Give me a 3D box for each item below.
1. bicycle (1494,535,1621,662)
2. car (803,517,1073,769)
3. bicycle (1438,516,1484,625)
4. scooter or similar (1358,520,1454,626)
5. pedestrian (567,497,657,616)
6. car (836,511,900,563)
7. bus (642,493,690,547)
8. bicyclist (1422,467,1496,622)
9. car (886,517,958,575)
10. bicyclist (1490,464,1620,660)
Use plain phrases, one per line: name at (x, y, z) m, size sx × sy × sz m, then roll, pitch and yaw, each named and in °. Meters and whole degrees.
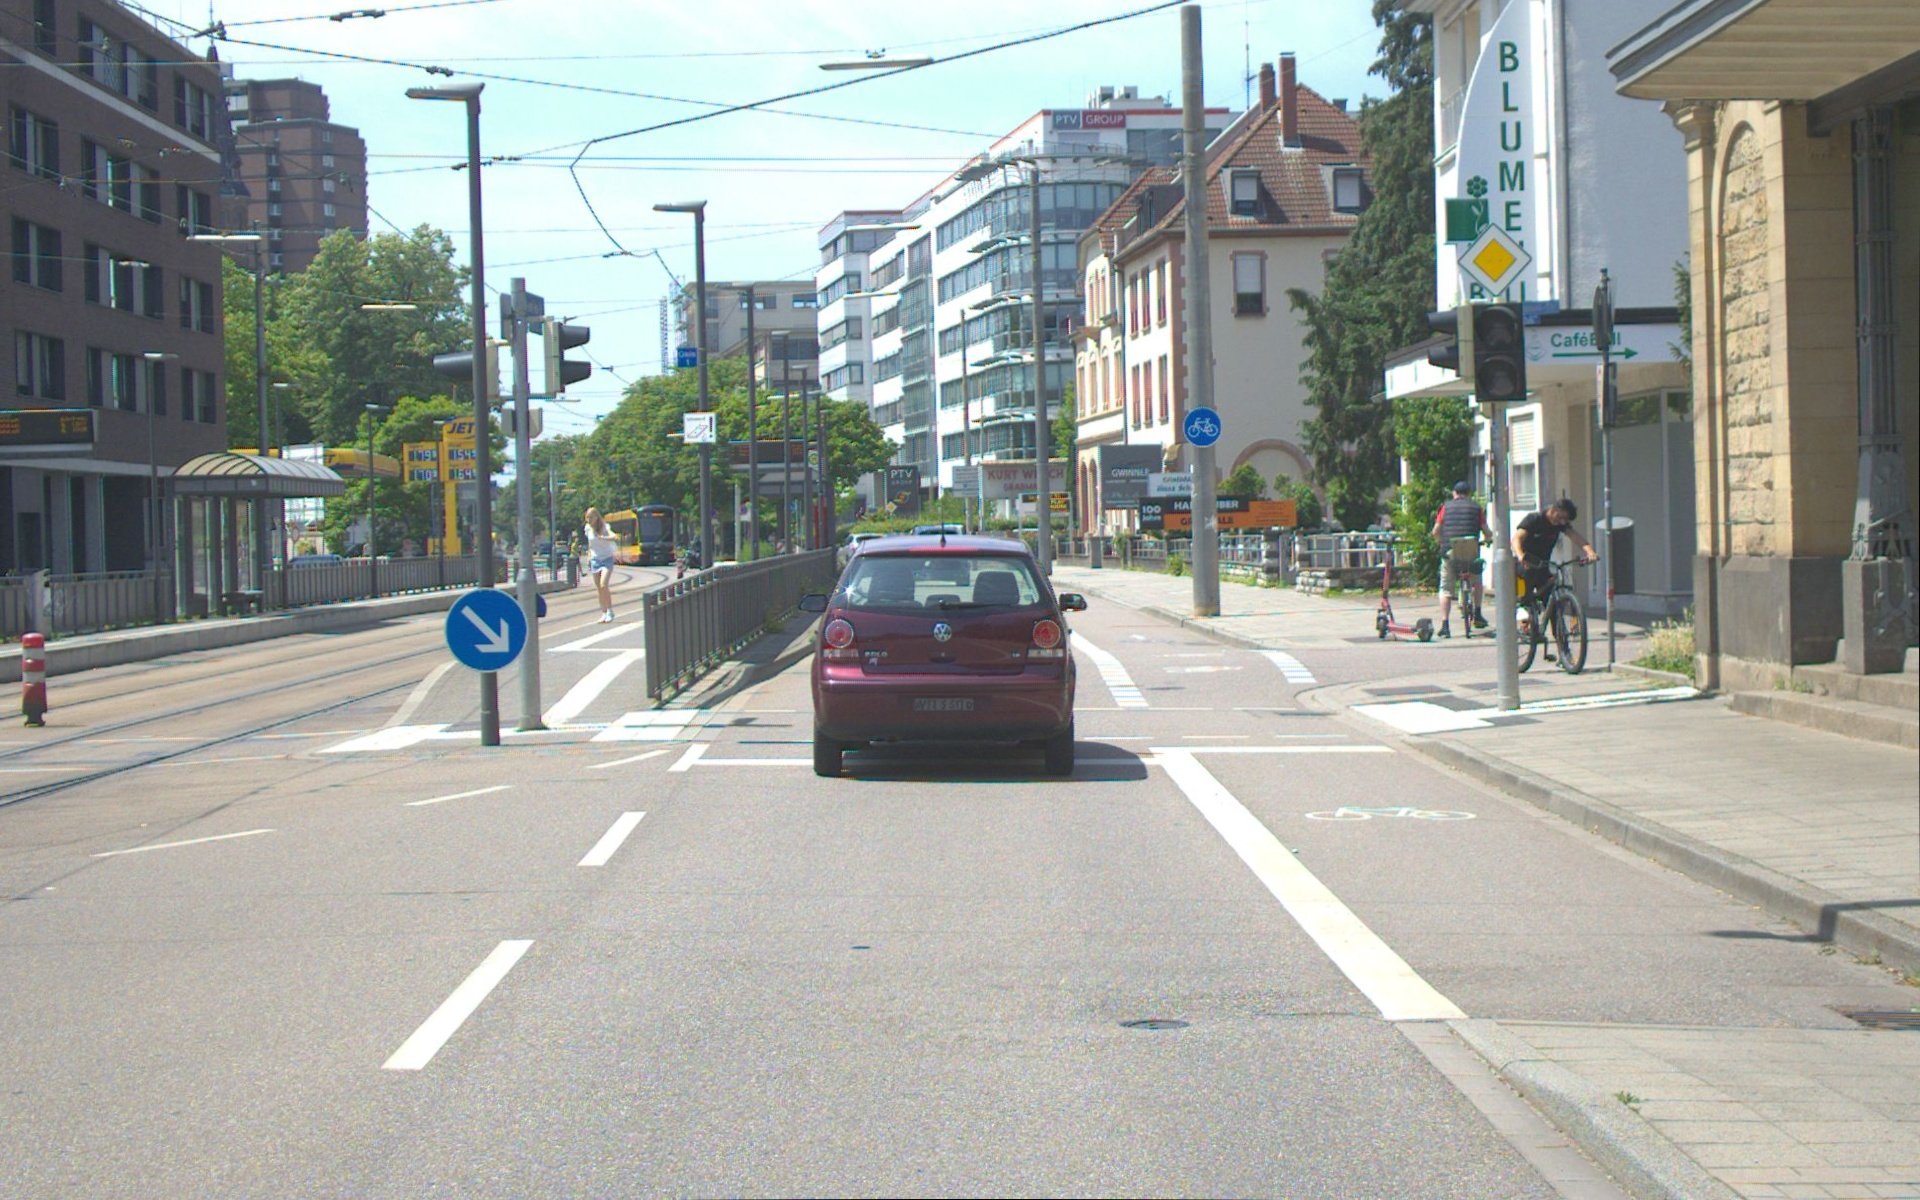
bicycle at (5.175, -0.027, 29.879) m, size 0.668 × 0.999 × 1.864 m, roll -6°, pitch 1°, yaw 0°
car at (-0.162, 0.224, 21.928) m, size 1.561 × 1.448 × 3.062 m, roll -2°, pitch 1°, yaw -1°
bicycle at (5.767, -0.348, 39.516) m, size 0.375 × 1.193 × 1.904 m, roll -1°, pitch 2°, yaw 12°
scooter or similar at (5.091, -0.309, 39.304) m, size 0.339 × 1.174 × 1.468 m, roll -2°, pitch 1°, yaw -24°
pedestrian at (-4.991, -0.627, 49.278) m, size 1.096 × 1.669 × 0.766 m, roll -2°, pitch 1°, yaw -17°
car at (-3.469, -2.383, 129.390) m, size 1.993 × 1.842 × 4.001 m, roll -2°, pitch 2°, yaw -7°
bus at (-16.919, -4.560, 197.830) m, size 2.144 × 2.992 × 6.575 m, roll -2°, pitch 1°, yaw -9°
bicyclist at (5.757, -0.647, 39.635) m, size 0.727 × 1.754 × 0.923 m, roll -1°, pitch 1°, yaw 12°
car at (-1.134, -1.606, 101.177) m, size 1.993 × 1.619 × 4.632 m, roll -2°, pitch 1°, yaw -1°
bicyclist at (5.205, -0.344, 30.123) m, size 0.832 × 1.612 × 0.860 m, roll -6°, pitch 2°, yaw 0°
